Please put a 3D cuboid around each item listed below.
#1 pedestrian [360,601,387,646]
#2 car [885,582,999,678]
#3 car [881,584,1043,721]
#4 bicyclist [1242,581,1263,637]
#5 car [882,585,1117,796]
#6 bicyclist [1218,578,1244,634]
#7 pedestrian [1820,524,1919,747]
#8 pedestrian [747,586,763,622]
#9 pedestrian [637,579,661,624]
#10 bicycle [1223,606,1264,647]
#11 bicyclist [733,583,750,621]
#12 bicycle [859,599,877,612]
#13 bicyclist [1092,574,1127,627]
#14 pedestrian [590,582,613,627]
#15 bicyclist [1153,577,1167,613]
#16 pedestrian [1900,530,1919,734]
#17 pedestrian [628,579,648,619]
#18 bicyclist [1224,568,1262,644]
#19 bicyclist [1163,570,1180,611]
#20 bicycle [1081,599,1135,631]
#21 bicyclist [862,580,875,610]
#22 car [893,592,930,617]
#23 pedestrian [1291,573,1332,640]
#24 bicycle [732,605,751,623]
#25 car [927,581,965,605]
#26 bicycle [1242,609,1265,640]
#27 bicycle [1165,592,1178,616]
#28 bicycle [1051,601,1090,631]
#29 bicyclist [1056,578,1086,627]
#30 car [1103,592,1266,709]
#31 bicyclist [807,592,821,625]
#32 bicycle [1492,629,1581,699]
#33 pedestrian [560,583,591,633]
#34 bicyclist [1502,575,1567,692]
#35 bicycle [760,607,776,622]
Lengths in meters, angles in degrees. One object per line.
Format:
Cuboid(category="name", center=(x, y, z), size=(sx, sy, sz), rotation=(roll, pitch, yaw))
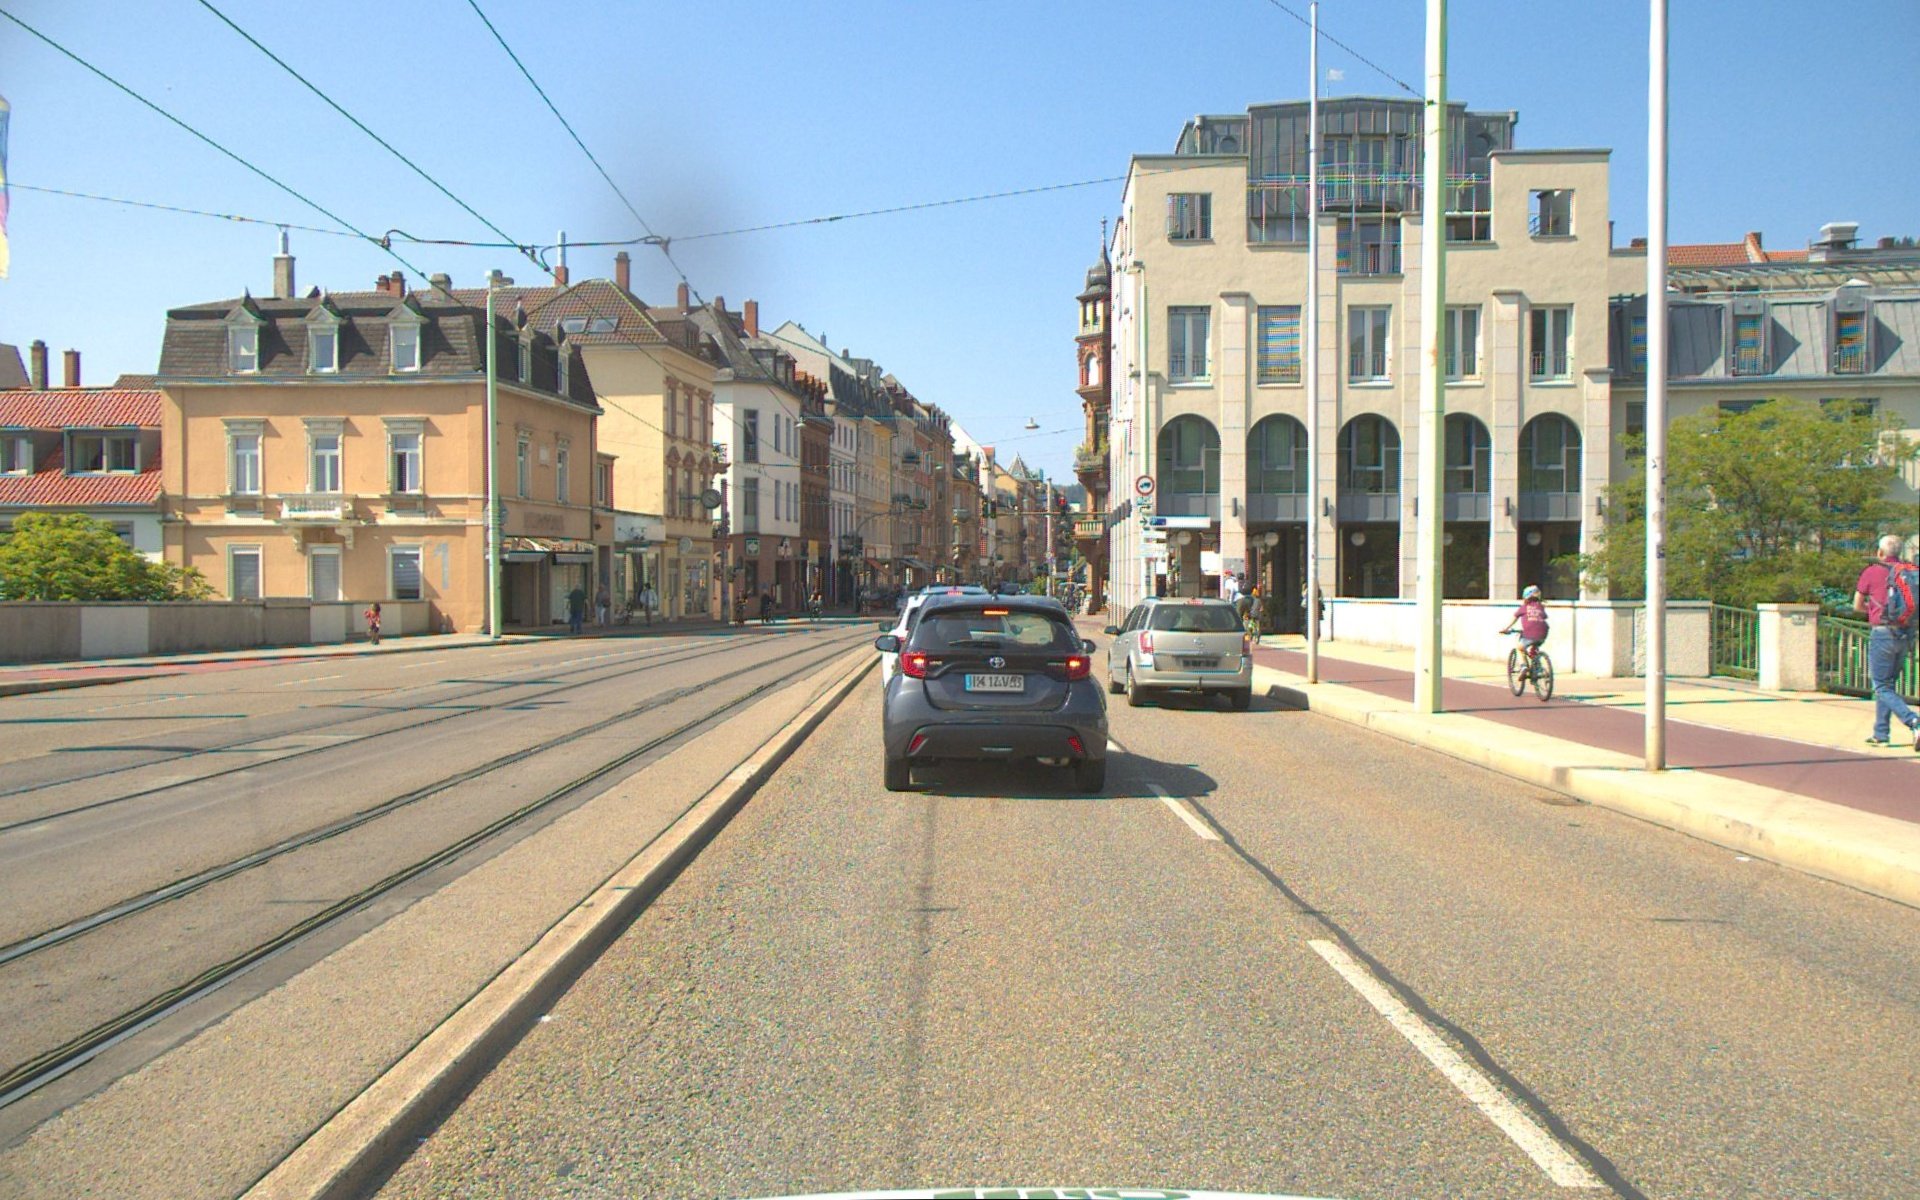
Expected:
Cuboid(category="pedestrian", center=(-15.768, 0.624, 44.470), size=(0.403, 1.166, 0.545), rotation=(4, 0, 4))
Cuboid(category="car", center=(-0.316, 0.483, 29.410), size=(1.858, 1.557, 3.999), rotation=(1, 0, -1))
Cuboid(category="car", center=(-0.002, 0.604, 21.312), size=(1.858, 1.557, 3.999), rotation=(1, 0, -1))
Cuboid(category="bicyclist", center=(7.514, 0.223, 42.458), size=(0.413, 1.407, 0.443), rotation=(-2, 0, -1))
Cuboid(category="car", center=(0.263, 0.650, 13.885), size=(1.685, 1.499, 3.657), rotation=(1, 0, -1))
Cuboid(category="bicyclist", center=(7.243, 0.164, 44.258), size=(0.480, 1.492, 0.437), rotation=(-2, 0, -39))
Cuboid(category="pedestrian", center=(8.024, 0.283, 14.179), size=(0.724, 1.833, 1.015), rotation=(-2, 0, -1))
Cuboid(category="pedestrian", center=(-10.613, 0.202, 85.672), size=(0.721, 1.797, 0.787), rotation=(0, 1, 0))
Cuboid(category="pedestrian", center=(-12.704, 0.064, 67.609), size=(0.721, 1.796, 0.787), rotation=(4, 0, 0))
Cuboid(category="bicycle", center=(6.524, 0.605, 38.122), size=(0.689, 0.898, 1.525), rotation=(-1, 0, 0))
Cuboid(category="bicyclist", center=(-9.725, 0.089, 73.668), size=(0.614, 1.679, 0.622), rotation=(2, 1, 0))
Cuboid(category="bicycle", center=(-5.289, 0.313, 95.509), size=(0.607, 0.728, 2.047), rotation=(2, 1, 9))
Cuboid(category="bicyclist", center=(7.659, 0.030, 84.757), size=(1.217, 2.572, 1.092), rotation=(4, 0, -33))
Cuboid(category="pedestrian", center=(-13.692, 0.177, 63.182), size=(0.636, 1.629, 0.566), rotation=(4, 2, 0))
Cuboid(category="bicyclist", center=(7.333, -0.179, 60.610), size=(0.413, 1.278, 0.443), rotation=(-2, 0, 2))
Cuboid(category="pedestrian", center=(8.825, 0.274, 14.343), size=(0.724, 1.808, 1.015), rotation=(-2, 0, -1))
Cuboid(category="pedestrian", center=(-13.784, -0.053, 70.895), size=(0.636, 1.629, 0.566), rotation=(4, 2, 0))
Cuboid(category="bicyclist", center=(6.512, 0.128, 38.104), size=(0.687, 1.725, 0.924), rotation=(-1, 0, 0))
Cuboid(category="bicyclist", center=(7.154, -0.322, 56.073), size=(0.527, 1.339, 0.672), rotation=(-1, 0, 6))
Cuboid(category="bicycle", center=(7.586, 0.777, 84.841), size=(1.101, 1.444, 2.975), rotation=(4, 0, -32))
Cuboid(category="bicyclist", center=(-5.273, -0.293, 95.530), size=(0.614, 1.679, 0.622), rotation=(2, 1, 8))
Cuboid(category="car", center=(-2.926, 0.274, 101.236), size=(1.694, 1.486, 4.376), rotation=(0, 0, 6))
Cuboid(category="pedestrian", center=(9.046, 0.160, 42.611), size=(0.724, 1.642, 1.015), rotation=(4, 0, -1))
Cuboid(category="bicycle", center=(-9.738, 0.611, 73.727), size=(0.607, 0.728, 1.771), rotation=(2, 1, 0))
Cuboid(category="car", center=(-0.910, -0.459, 111.308), size=(1.951, 1.614, 4.656), rotation=(0, 0, 8))
Cuboid(category="bicycle", center=(7.530, 0.626, 42.446), size=(0.408, 0.779, 0.962), rotation=(-2, 0, 0))
Cuboid(category="bicycle", center=(7.181, 0.137, 56.123), size=(0.407, 0.779, 1.206), rotation=(-2, 0, 7))
Cuboid(category="bicycle", center=(5.937, 0.840, 89.138), size=(1.093, 1.444, 2.996), rotation=(4, 0, -14))
Cuboid(category="bicyclist", center=(5.981, 0.136, 89.119), size=(1.207, 2.572, 1.101), rotation=(4, 0, -15))
Cuboid(category="car", center=(3.121, 0.644, 23.739), size=(1.671, 1.491, 4.325), rotation=(1, 0, -1))
Cuboid(category="bicyclist", center=(-7.665, 0.434, 86.936), size=(0.614, 1.679, 0.622), rotation=(2, 1, 0))
Cuboid(category="bicycle", center=(7.109, 0.772, 20.462), size=(0.503, 0.779, 1.660), rotation=(-2, 0, 0))
Cuboid(category="pedestrian", center=(-13.248, 0.280, 56.994), size=(0.746, 1.682, 0.712), rotation=(4, 0, 7))
Cuboid(category="bicyclist", center=(7.092, 0.402, 20.439), size=(0.523, 1.407, 0.669), rotation=(-2, 0, -1))
Cuboid(category="bicycle", center=(-9.924, 0.752, 85.531), size=(0.607, 0.728, 1.771), rotation=(1, 1, 0))
